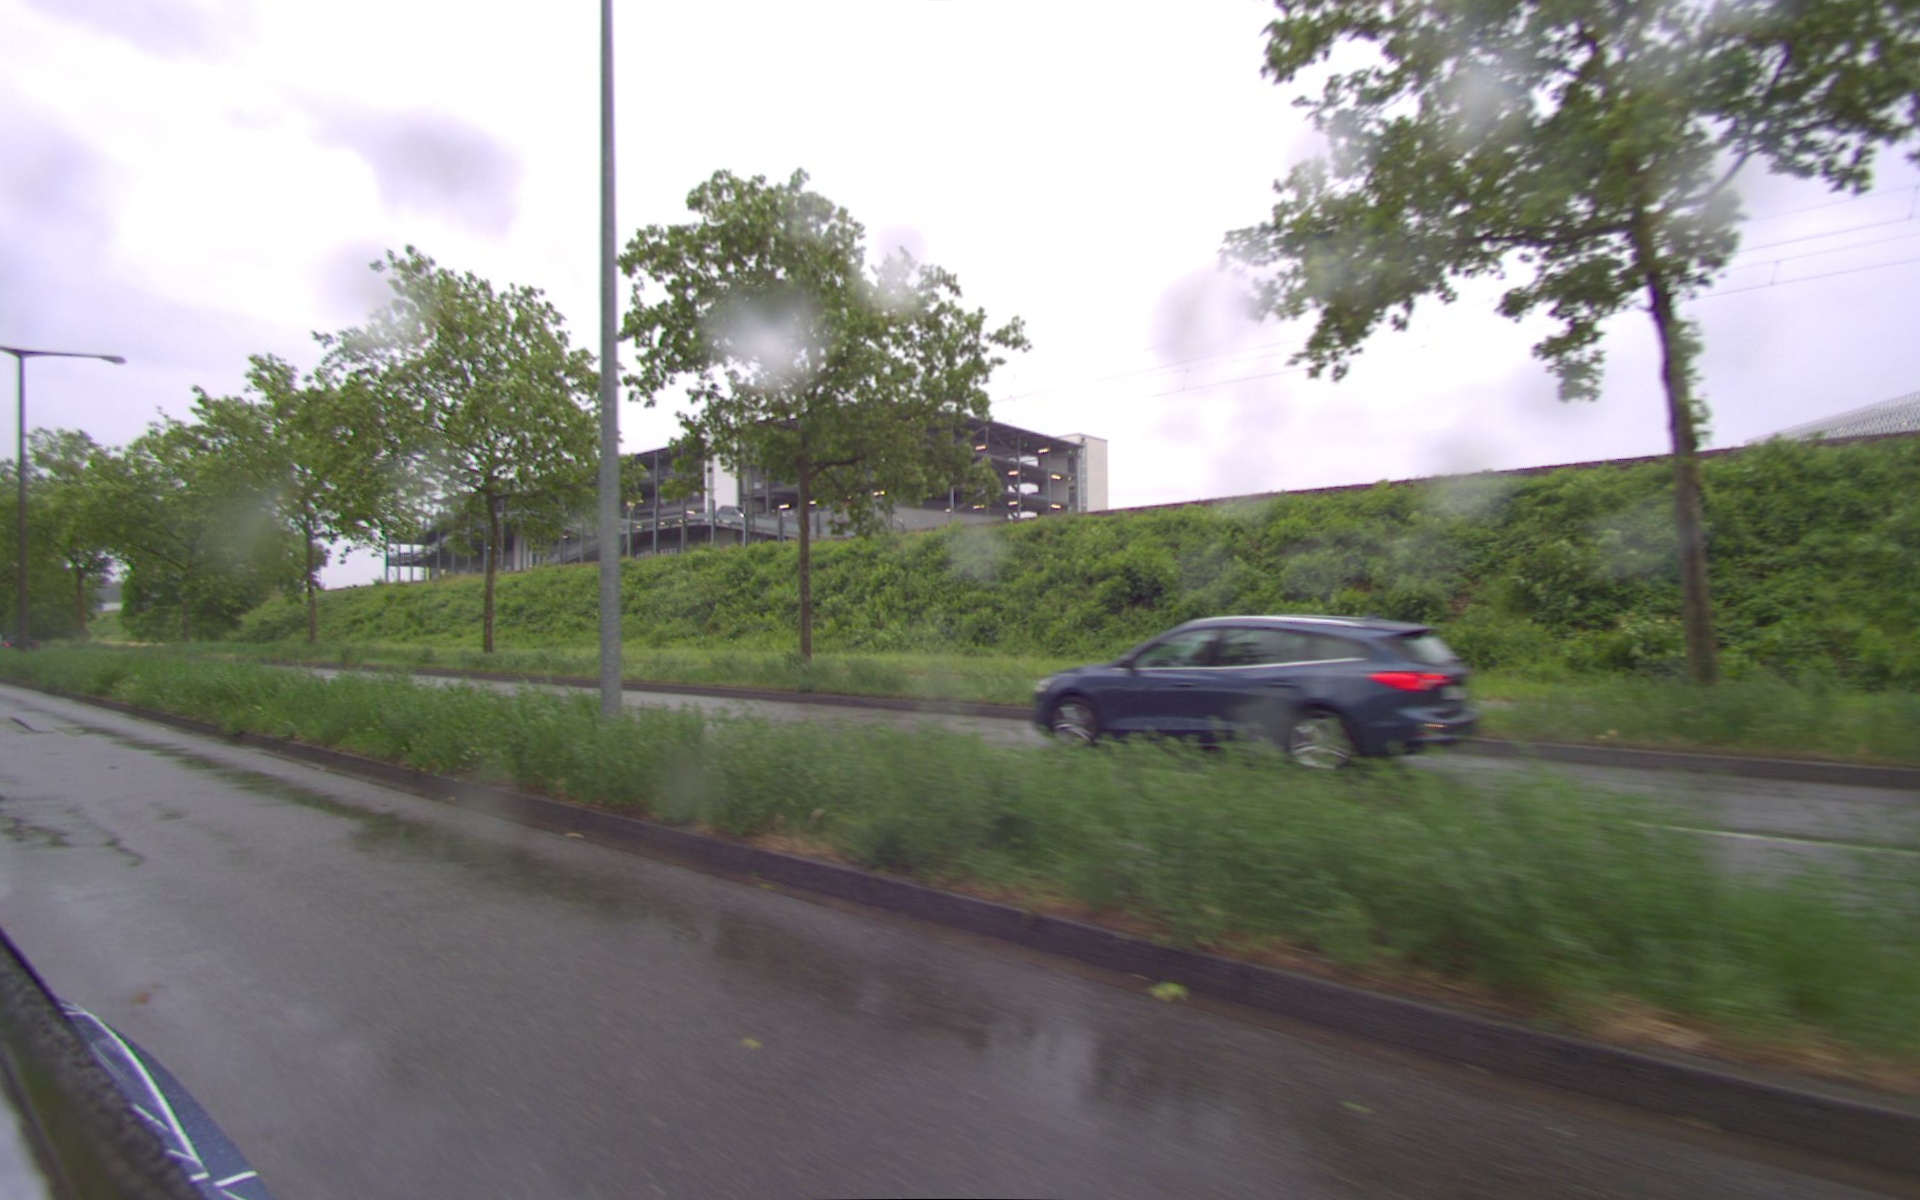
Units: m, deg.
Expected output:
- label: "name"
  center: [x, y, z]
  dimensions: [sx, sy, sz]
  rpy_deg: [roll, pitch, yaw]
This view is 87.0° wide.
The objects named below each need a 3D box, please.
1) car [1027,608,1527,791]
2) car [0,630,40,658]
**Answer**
- label: "car"
  center: [3.053, 0.855, 10.365]
  dimensions: [4.494, 1.456, 1.911]
  rpy_deg: [-2, -1, 41]
- label: "car"
  center: [-51.566, 2.411, 55.153]
  dimensions: [3.997, 1.437, 1.614]
  rpy_deg: [-2, -1, 40]
